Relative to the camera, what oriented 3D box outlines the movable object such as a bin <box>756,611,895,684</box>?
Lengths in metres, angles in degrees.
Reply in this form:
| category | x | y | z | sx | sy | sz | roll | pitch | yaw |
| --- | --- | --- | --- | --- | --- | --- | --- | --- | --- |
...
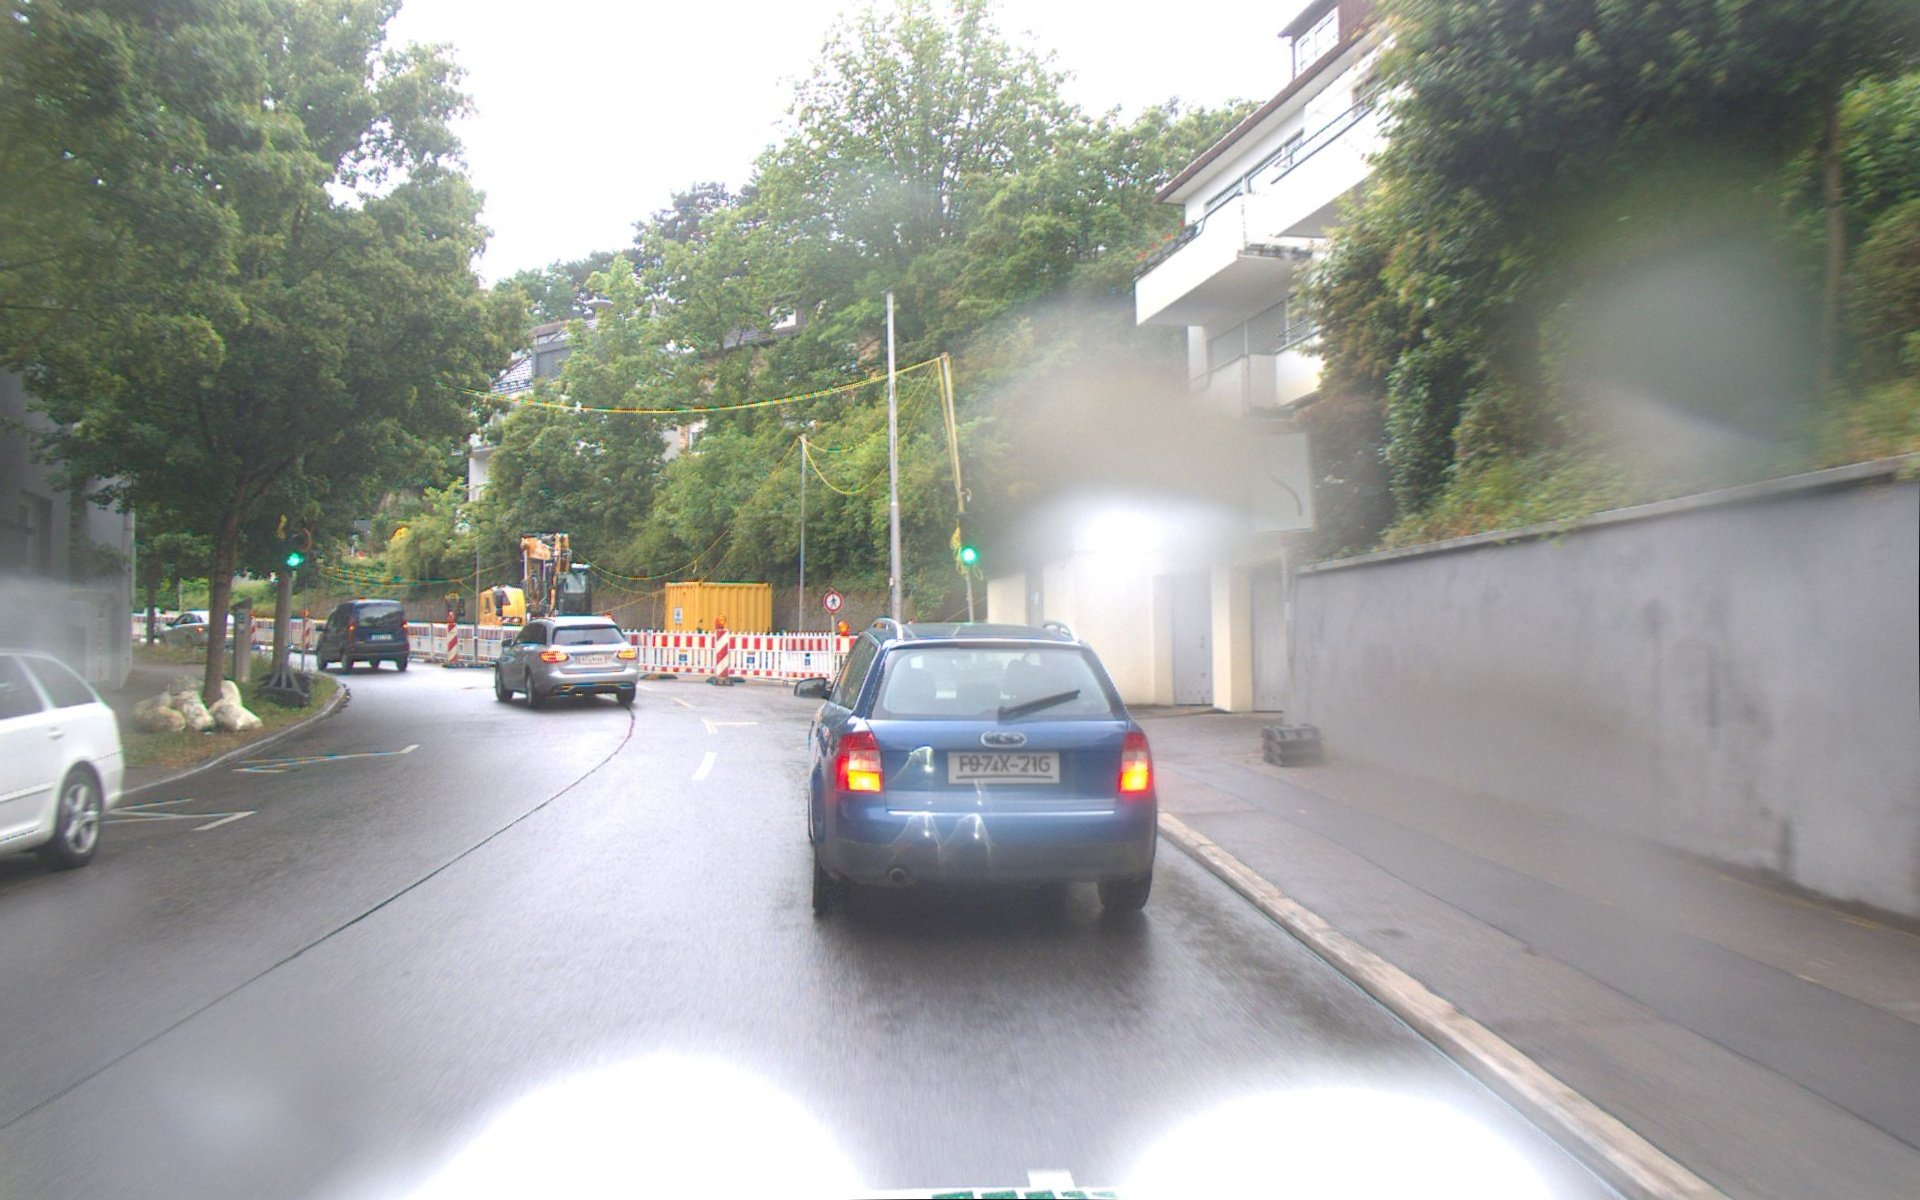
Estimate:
| category | x | y | z | sx | sy | sz | roll | pitch | yaw |
| --- | --- | --- | --- | --- | --- | --- | --- | --- | --- |
| movable object such as a bin | -3.165 | 1.054 | 38.171 | 1.968 | 1.546 | 3.969 | 0 | 0 | -25 |

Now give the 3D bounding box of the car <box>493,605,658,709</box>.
| category | x | y | z | sx | sy | sz | roll | pitch | yaw |
| --- | --- | --- | --- | --- | --- | --- | --- | --- | --- |
| car | -6.743 | 0.914 | 28.682 | 1.903 | 1.646 | 4.284 | 0 | 0 | -26 |

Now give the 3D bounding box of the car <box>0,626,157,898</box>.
| category | x | y | z | sx | sy | sz | roll | pitch | yaw |
| --- | --- | --- | --- | --- | --- | --- | --- | --- | --- |
| car | -6.391 | 1.015 | 9.357 | 1.648 | 1.534 | 4.313 | -4 | 0 | -2 |

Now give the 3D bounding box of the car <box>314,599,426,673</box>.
| category | x | y | z | sx | sy | sz | roll | pitch | yaw |
| --- | --- | --- | --- | --- | --- | --- | --- | --- | --- |
| car | -15.846 | 0.965 | 44.288 | 1.975 | 1.825 | 3.955 | -2 | 0 | -32 |

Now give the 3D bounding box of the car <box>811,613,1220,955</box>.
| category | x | y | z | sx | sy | sz | roll | pitch | yaw |
| --- | --- | --- | --- | --- | --- | --- | --- | --- | --- |
| car | 0.081 | 0.821 | 9.314 | 1.751 | 1.467 | 3.958 | -1 | 0 | -6 |

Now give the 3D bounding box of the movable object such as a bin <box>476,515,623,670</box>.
| category | x | y | z | sx | sy | sz | roll | pitch | yaw |
| --- | --- | --- | --- | --- | --- | --- | --- | --- | --- |
| movable object such as a bin | -11.926 | -0.203 | 47.519 | 2.784 | 4.084 | 7.268 | 0 | 0 | -25 |

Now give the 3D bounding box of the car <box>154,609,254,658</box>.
| category | x | y | z | sx | sy | sz | roll | pitch | yaw |
| --- | --- | --- | --- | --- | --- | --- | --- | --- | --- |
| car | -25.632 | 1.151 | 56.009 | 4.006 | 1.512 | 1.715 | -2 | 0 | 44 |

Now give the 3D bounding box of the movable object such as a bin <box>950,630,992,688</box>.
| category | x | y | z | sx | sy | sz | roll | pitch | yaw |
| --- | --- | --- | --- | --- | --- | --- | --- | --- | --- |
| movable object such as a bin | 0.199 | 1.092 | 30.690 | 0.706 | 1.050 | 0.591 | -1 | -1 | -7 |
